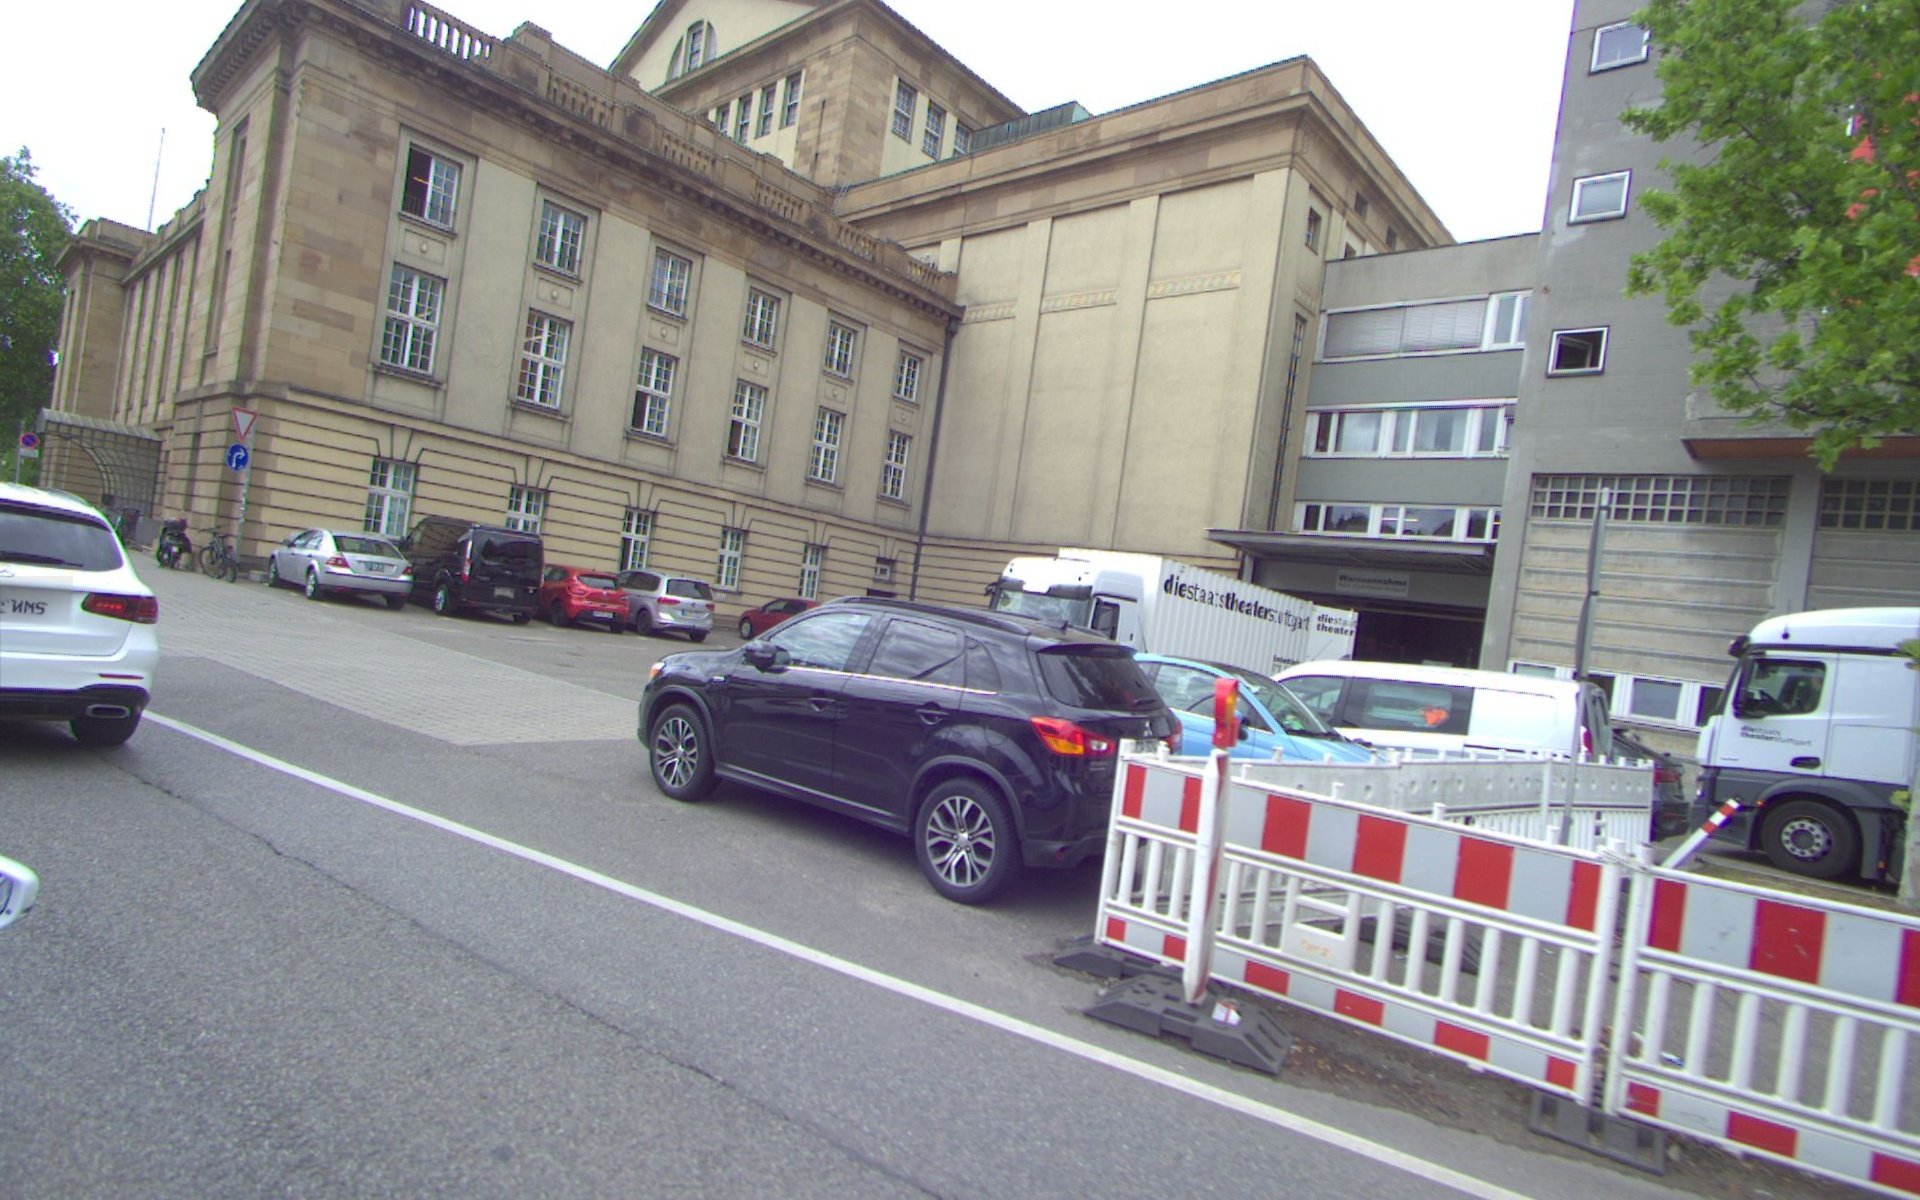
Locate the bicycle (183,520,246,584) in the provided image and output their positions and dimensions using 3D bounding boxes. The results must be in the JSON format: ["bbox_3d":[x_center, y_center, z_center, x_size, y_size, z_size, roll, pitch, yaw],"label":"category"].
[{"bbox_3d":[-16.366,-1.061,22.069,1.934,1.240,0.608,7,2,40],"label":"bicycle"}]

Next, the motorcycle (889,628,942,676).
[{"bbox_3d":[-1.340,1.581,30.370,0.419,1.186,1.602,8,-4,43],"label":"motorcycle"}]

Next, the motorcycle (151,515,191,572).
[{"bbox_3d":[-18.974,-1.374,24.178,0.454,1.257,1.898,7,0,-44],"label":"motorcycle"}]

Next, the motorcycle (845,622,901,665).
[{"bbox_3d":[-2.750,1.392,31.981,0.463,1.118,1.787,8,-4,43],"label":"motorcycle"}]

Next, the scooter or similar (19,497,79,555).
[{"bbox_3d":[-22.393,-1.813,24.731,1.344,1.267,0.452,6,-1,22],"label":"scooter or similar"}]

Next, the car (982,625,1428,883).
[{"bbox_3d":[2.116,1.264,9.140,3.453,1.547,1.580,7,-3,40],"label":"car"}]

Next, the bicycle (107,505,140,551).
[{"bbox_3d":[-25.829,-2.237,31.048,1.766,1.303,0.412,7,-1,43],"label":"bicycle"}]

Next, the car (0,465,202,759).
[{"bbox_3d":[-7.201,-0.150,6.843,4.366,1.642,1.792,7,-3,34],"label":"car"}]

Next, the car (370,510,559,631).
[{"bbox_3d":[-11.397,-0.728,22.961,4.846,2.092,1.948,8,-2,41],"label":"car"}]

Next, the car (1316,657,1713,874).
[{"bbox_3d":[6.457,1.831,11.905,3.707,1.708,1.715,7,-3,40],"label":"car"}]

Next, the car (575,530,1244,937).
[{"bbox_3d":[-0.560,0.690,7.112,4.417,1.758,1.806,8,-2,38],"label":"car"}]

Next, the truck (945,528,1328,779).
[{"bbox_3d":[4.459,1.406,22.295,2.958,4.255,10.342,8,-1,42],"label":"truck"}]

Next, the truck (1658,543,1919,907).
[{"bbox_3d":[12.785,1.706,11.936,3.123,4.130,6.499,10,-3,-40],"label":"truck"}]

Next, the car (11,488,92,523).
[{"bbox_3d":[-61.568,-6.421,68.230,1.656,1.586,3.832,7,-2,43],"label":"car"}]

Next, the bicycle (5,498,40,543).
[{"bbox_3d":[-27.202,-2.318,29.178,1.805,1.170,0.459,7,-1,42],"label":"bicycle"}]

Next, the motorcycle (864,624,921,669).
[{"bbox_3d":[-2.076,1.456,31.217,0.463,1.103,1.787,8,-4,43],"label":"motorcycle"}]

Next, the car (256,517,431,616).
[{"bbox_3d":[-13.186,-0.759,21.404,4.510,1.485,1.778,8,-2,41],"label":"car"}]

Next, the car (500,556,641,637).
[{"bbox_3d":[-9.657,-0.110,24.841,3.566,1.429,1.642,8,-2,41],"label":"car"}]

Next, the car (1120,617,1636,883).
[{"bbox_3d":[4.248,1.438,10.675,4.555,1.802,1.807,7,-5,40],"label":"car"}]

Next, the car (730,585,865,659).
[{"bbox_3d":[-4.814,0.625,29.518,3.864,1.551,1.642,8,-2,41],"label":"car"}]

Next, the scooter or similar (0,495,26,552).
[{"bbox_3d":[-23.002,-1.869,24.317,1.384,1.276,0.379,7,-1,42],"label":"scooter or similar"}]

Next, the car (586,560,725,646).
[{"bbox_3d":[-7.999,0.042,26.293,3.566,1.688,1.642,8,-2,41],"label":"car"}]
